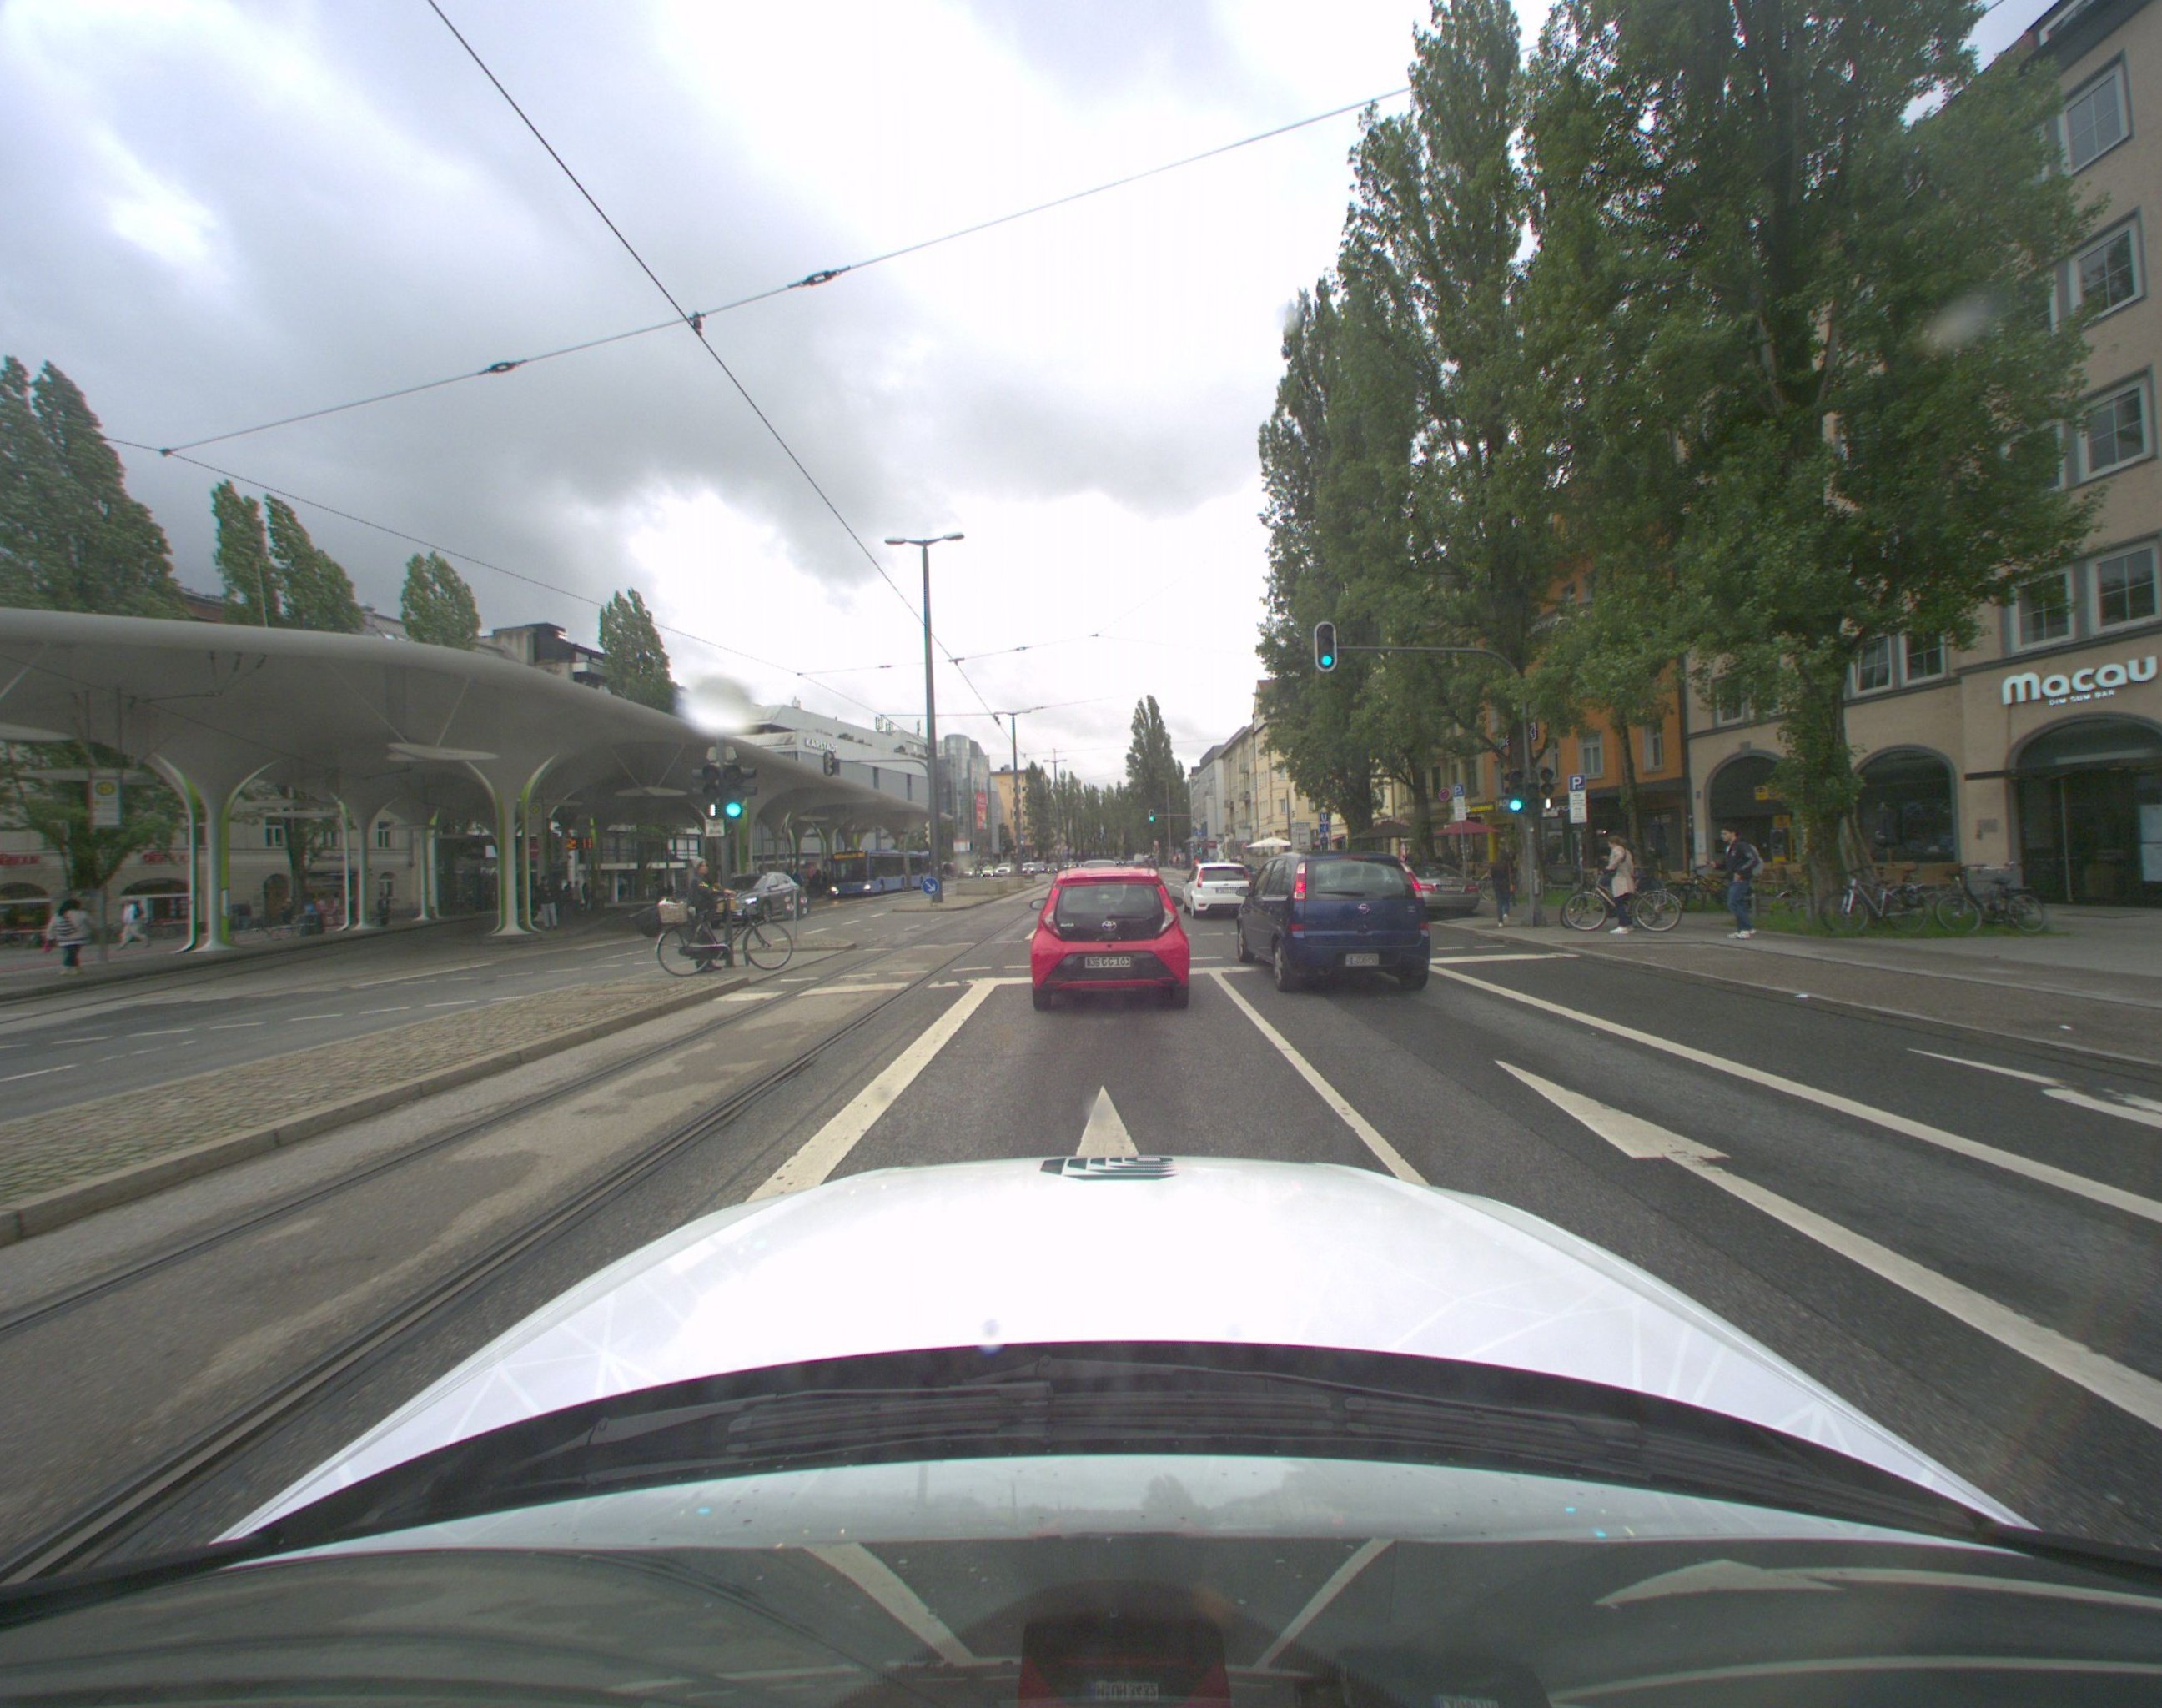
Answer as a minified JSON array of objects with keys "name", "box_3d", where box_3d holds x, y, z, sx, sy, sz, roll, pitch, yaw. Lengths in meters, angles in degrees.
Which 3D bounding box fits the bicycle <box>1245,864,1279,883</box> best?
[{"name":"bicycle","box_3d":[9.680,1.041,43.631,1.818,0.995,0.327,-1,1,39]}]

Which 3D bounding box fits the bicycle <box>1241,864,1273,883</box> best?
[{"name":"bicycle","box_3d":[9.707,1.072,44.940,1.819,0.995,0.327,-1,1,44]}]

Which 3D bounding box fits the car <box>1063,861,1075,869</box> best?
[{"name":"car","box_3d":[-2.408,2.235,166.210,1.734,1.670,4.742,-3,0,7]}]

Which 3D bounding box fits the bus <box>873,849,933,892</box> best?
[{"name":"bus","box_3d":[-13.912,1.227,64.170,2.650,3.007,7.516,-4,-1,2]}]

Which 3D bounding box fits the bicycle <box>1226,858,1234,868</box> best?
[{"name":"bicycle","box_3d":[17.678,1.074,96.612,0.493,1.059,1.864,-2,0,-2]}]

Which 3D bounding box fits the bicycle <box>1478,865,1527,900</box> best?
[{"name":"bicycle","box_3d":[12.257,0.817,23.757,0.587,0.965,1.654,-2,-1,2]}]

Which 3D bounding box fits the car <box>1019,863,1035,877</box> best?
[{"name":"car","box_3d":[-7.589,2.197,114.719,1.781,1.855,4.216,-3,-1,-1]}]

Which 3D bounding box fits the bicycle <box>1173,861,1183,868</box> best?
[{"name":"bicycle","box_3d":[14.374,1.485,120.646,1.399,0.963,0.369,-3,-1,-4]}]

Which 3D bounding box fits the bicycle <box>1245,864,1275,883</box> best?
[{"name":"bicycle","box_3d":[9.940,1.073,45.269,0.327,0.995,1.820,-2,1,-41]}]

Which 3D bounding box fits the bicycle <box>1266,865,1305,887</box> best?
[{"name":"bicycle","box_3d":[9.559,0.999,38.037,0.377,0.995,1.819,-2,1,-43]}]

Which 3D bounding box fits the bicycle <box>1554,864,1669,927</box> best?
[{"name":"bicycle","box_3d":[9.844,0.777,15.144,1.722,1.102,0.361,-3,-1,36]}]

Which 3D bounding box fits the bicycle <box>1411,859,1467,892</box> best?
[{"name":"bicycle","box_3d":[13.957,0.831,31.751,1.879,1.174,0.582,-2,-1,3]}]

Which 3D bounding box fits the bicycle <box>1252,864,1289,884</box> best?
[{"name":"bicycle","box_3d":[9.624,1.025,41.465,1.818,0.995,0.378,-1,1,39]}]

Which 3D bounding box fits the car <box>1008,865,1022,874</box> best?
[{"name":"car","box_3d":[-10.108,2.356,124.611,1.667,1.378,4.613,-2,0,0]}]

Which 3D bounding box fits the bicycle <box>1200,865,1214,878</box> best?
[{"name":"bicycle","box_3d":[12.670,1.769,81.925,0.614,1.265,2.511,-3,0,-9]}]

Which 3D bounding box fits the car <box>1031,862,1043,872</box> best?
[{"name":"car","box_3d":[-6.872,2.043,128.174,1.672,1.395,4.232,-3,0,0]}]

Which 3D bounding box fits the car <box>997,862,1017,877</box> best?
[{"name":"car","box_3d":[-10.204,2.152,112.552,2.168,1.887,6.155,-3,0,0]}]

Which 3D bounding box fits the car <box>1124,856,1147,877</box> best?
[{"name":"car","box_3d":[5.188,1.218,78.594,1.986,1.838,4.001,-3,0,2]}]

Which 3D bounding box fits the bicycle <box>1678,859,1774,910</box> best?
[{"name":"bicycle","box_3d":[14.880,0.703,18.797,1.790,1.109,0.447,-2,-1,3]}]

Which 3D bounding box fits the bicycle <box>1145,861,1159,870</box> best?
[{"name":"bicycle","box_3d":[9.576,1.563,110.045,1.782,1.158,0.490,-3,-1,27]}]

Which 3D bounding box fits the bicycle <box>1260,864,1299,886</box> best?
[{"name":"bicycle","box_3d":[9.626,1.010,39.467,1.818,0.995,0.378,-1,1,40]}]

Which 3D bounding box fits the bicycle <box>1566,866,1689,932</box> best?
[{"name":"bicycle","box_3d":[9.597,0.786,14.369,0.361,1.102,1.724,-2,-1,-43]}]

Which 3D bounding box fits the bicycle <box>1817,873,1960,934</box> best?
[{"name":"bicycle","box_3d":[12.999,0.792,13.125,1.826,0.917,0.392,-1,-1,2]}]

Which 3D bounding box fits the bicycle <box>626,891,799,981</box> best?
[{"name":"bicycle","box_3d":[-5.313,1.154,11.832,2.236,1.150,0.502,-1,-2,-27]}]

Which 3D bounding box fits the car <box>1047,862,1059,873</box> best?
[{"name":"car","box_3d":[-4.074,1.959,119.158,1.540,1.445,3.540,-3,0,1]}]

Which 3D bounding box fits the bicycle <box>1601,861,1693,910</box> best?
[{"name":"bicycle","box_3d":[13.070,0.713,18.820,1.790,1.109,0.447,0,-1,3]}]

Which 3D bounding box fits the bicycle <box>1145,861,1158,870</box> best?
[{"name":"bicycle","box_3d":[9.444,1.557,109.238,1.781,1.158,0.551,-3,-1,39]}]

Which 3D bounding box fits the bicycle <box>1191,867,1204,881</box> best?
[{"name":"bicycle","box_3d":[11.143,1.935,78.035,0.613,1.265,2.513,-3,0,-7]}]

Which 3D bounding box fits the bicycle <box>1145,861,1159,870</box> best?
[{"name":"bicycle","box_3d":[9.510,1.551,108.553,1.781,1.158,0.551,-3,-1,39]}]

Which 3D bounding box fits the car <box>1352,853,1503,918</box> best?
[{"name":"car","box_3d":[8.971,0.762,21.551,1.987,1.440,4.528,-3,0,0]}]

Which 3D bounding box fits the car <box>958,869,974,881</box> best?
[{"name":"car","box_3d":[-16.845,3.026,118.984,1.994,1.536,4.398,-3,0,-11]}]

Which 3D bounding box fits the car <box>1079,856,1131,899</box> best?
[{"name":"car","box_3d":[1.019,0.945,34.357,1.986,1.618,4.001,-3,0,1]}]

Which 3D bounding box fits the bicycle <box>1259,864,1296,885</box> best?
[{"name":"bicycle","box_3d":[9.651,1.014,40.090,0.377,0.995,1.819,-2,1,-44]}]

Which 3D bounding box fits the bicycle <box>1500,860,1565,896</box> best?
[{"name":"bicycle","box_3d":[15.034,0.793,27.153,1.882,1.113,0.458,-2,-1,-2]}]

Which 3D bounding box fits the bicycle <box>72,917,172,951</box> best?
[{"name":"bicycle","box_3d":[-45.796,3.808,38.958,0.831,1.314,2.959,-3,-1,25]}]

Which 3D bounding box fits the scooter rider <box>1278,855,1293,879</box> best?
[{"name":"scooter rider","box_3d":[12.147,0.762,48.434,0.698,1.389,0.643,-2,-1,0]}]

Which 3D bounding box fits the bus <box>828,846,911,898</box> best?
[{"name":"bus","box_3d":[-14.036,1.159,55.113,2.652,3.007,10.513,-4,-1,0]}]

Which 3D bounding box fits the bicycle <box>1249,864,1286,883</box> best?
[{"name":"bicycle","box_3d":[9.849,1.030,43.006,1.819,0.995,0.377,-1,1,25]}]

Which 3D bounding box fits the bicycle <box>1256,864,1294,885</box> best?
[{"name":"bicycle","box_3d":[9.714,1.020,40.826,1.818,0.995,0.378,-1,1,39]}]

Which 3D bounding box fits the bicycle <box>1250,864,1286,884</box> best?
[{"name":"bicycle","box_3d":[9.705,1.030,42.211,1.818,0.995,0.378,-1,1,39]}]

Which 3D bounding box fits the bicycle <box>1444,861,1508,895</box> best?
[{"name":"bicycle","box_3d":[13.171,0.803,27.144,1.882,1.054,0.458,-2,-1,-2]}]

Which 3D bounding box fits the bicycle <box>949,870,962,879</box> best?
[{"name":"bicycle","box_3d":[-16.955,2.796,110.043,1.566,1.112,0.374,-2,-1,5]}]

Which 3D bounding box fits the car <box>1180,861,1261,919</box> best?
[{"name":"car","box_3d":[3.741,0.921,22.390,1.693,1.426,3.498,-1,-1,1]}]

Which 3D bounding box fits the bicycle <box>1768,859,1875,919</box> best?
[{"name":"bicycle","box_3d":[13.719,0.644,15.109,1.565,1.050,0.392,-1,-1,2]}]

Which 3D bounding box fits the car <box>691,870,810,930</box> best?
[{"name":"car","box_3d":[-10.752,1.440,26.912,1.857,1.638,4.678,-4,-1,0]}]

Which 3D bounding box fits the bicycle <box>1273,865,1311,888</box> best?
[{"name":"bicycle","box_3d":[9.466,0.989,36.579,0.377,0.995,1.821,-2,1,-37]}]

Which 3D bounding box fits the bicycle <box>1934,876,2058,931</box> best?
[{"name":"bicycle","box_3d":[14.771,0.796,13.159,1.567,0.835,0.392,-1,-1,-2]}]

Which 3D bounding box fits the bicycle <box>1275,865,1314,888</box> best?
[{"name":"bicycle","box_3d":[9.398,0.984,35.939,0.377,0.995,1.821,-2,1,-37]}]

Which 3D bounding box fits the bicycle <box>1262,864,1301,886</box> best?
[{"name":"bicycle","box_3d":[9.544,1.005,38.787,1.819,0.995,0.377,-1,1,43]}]
